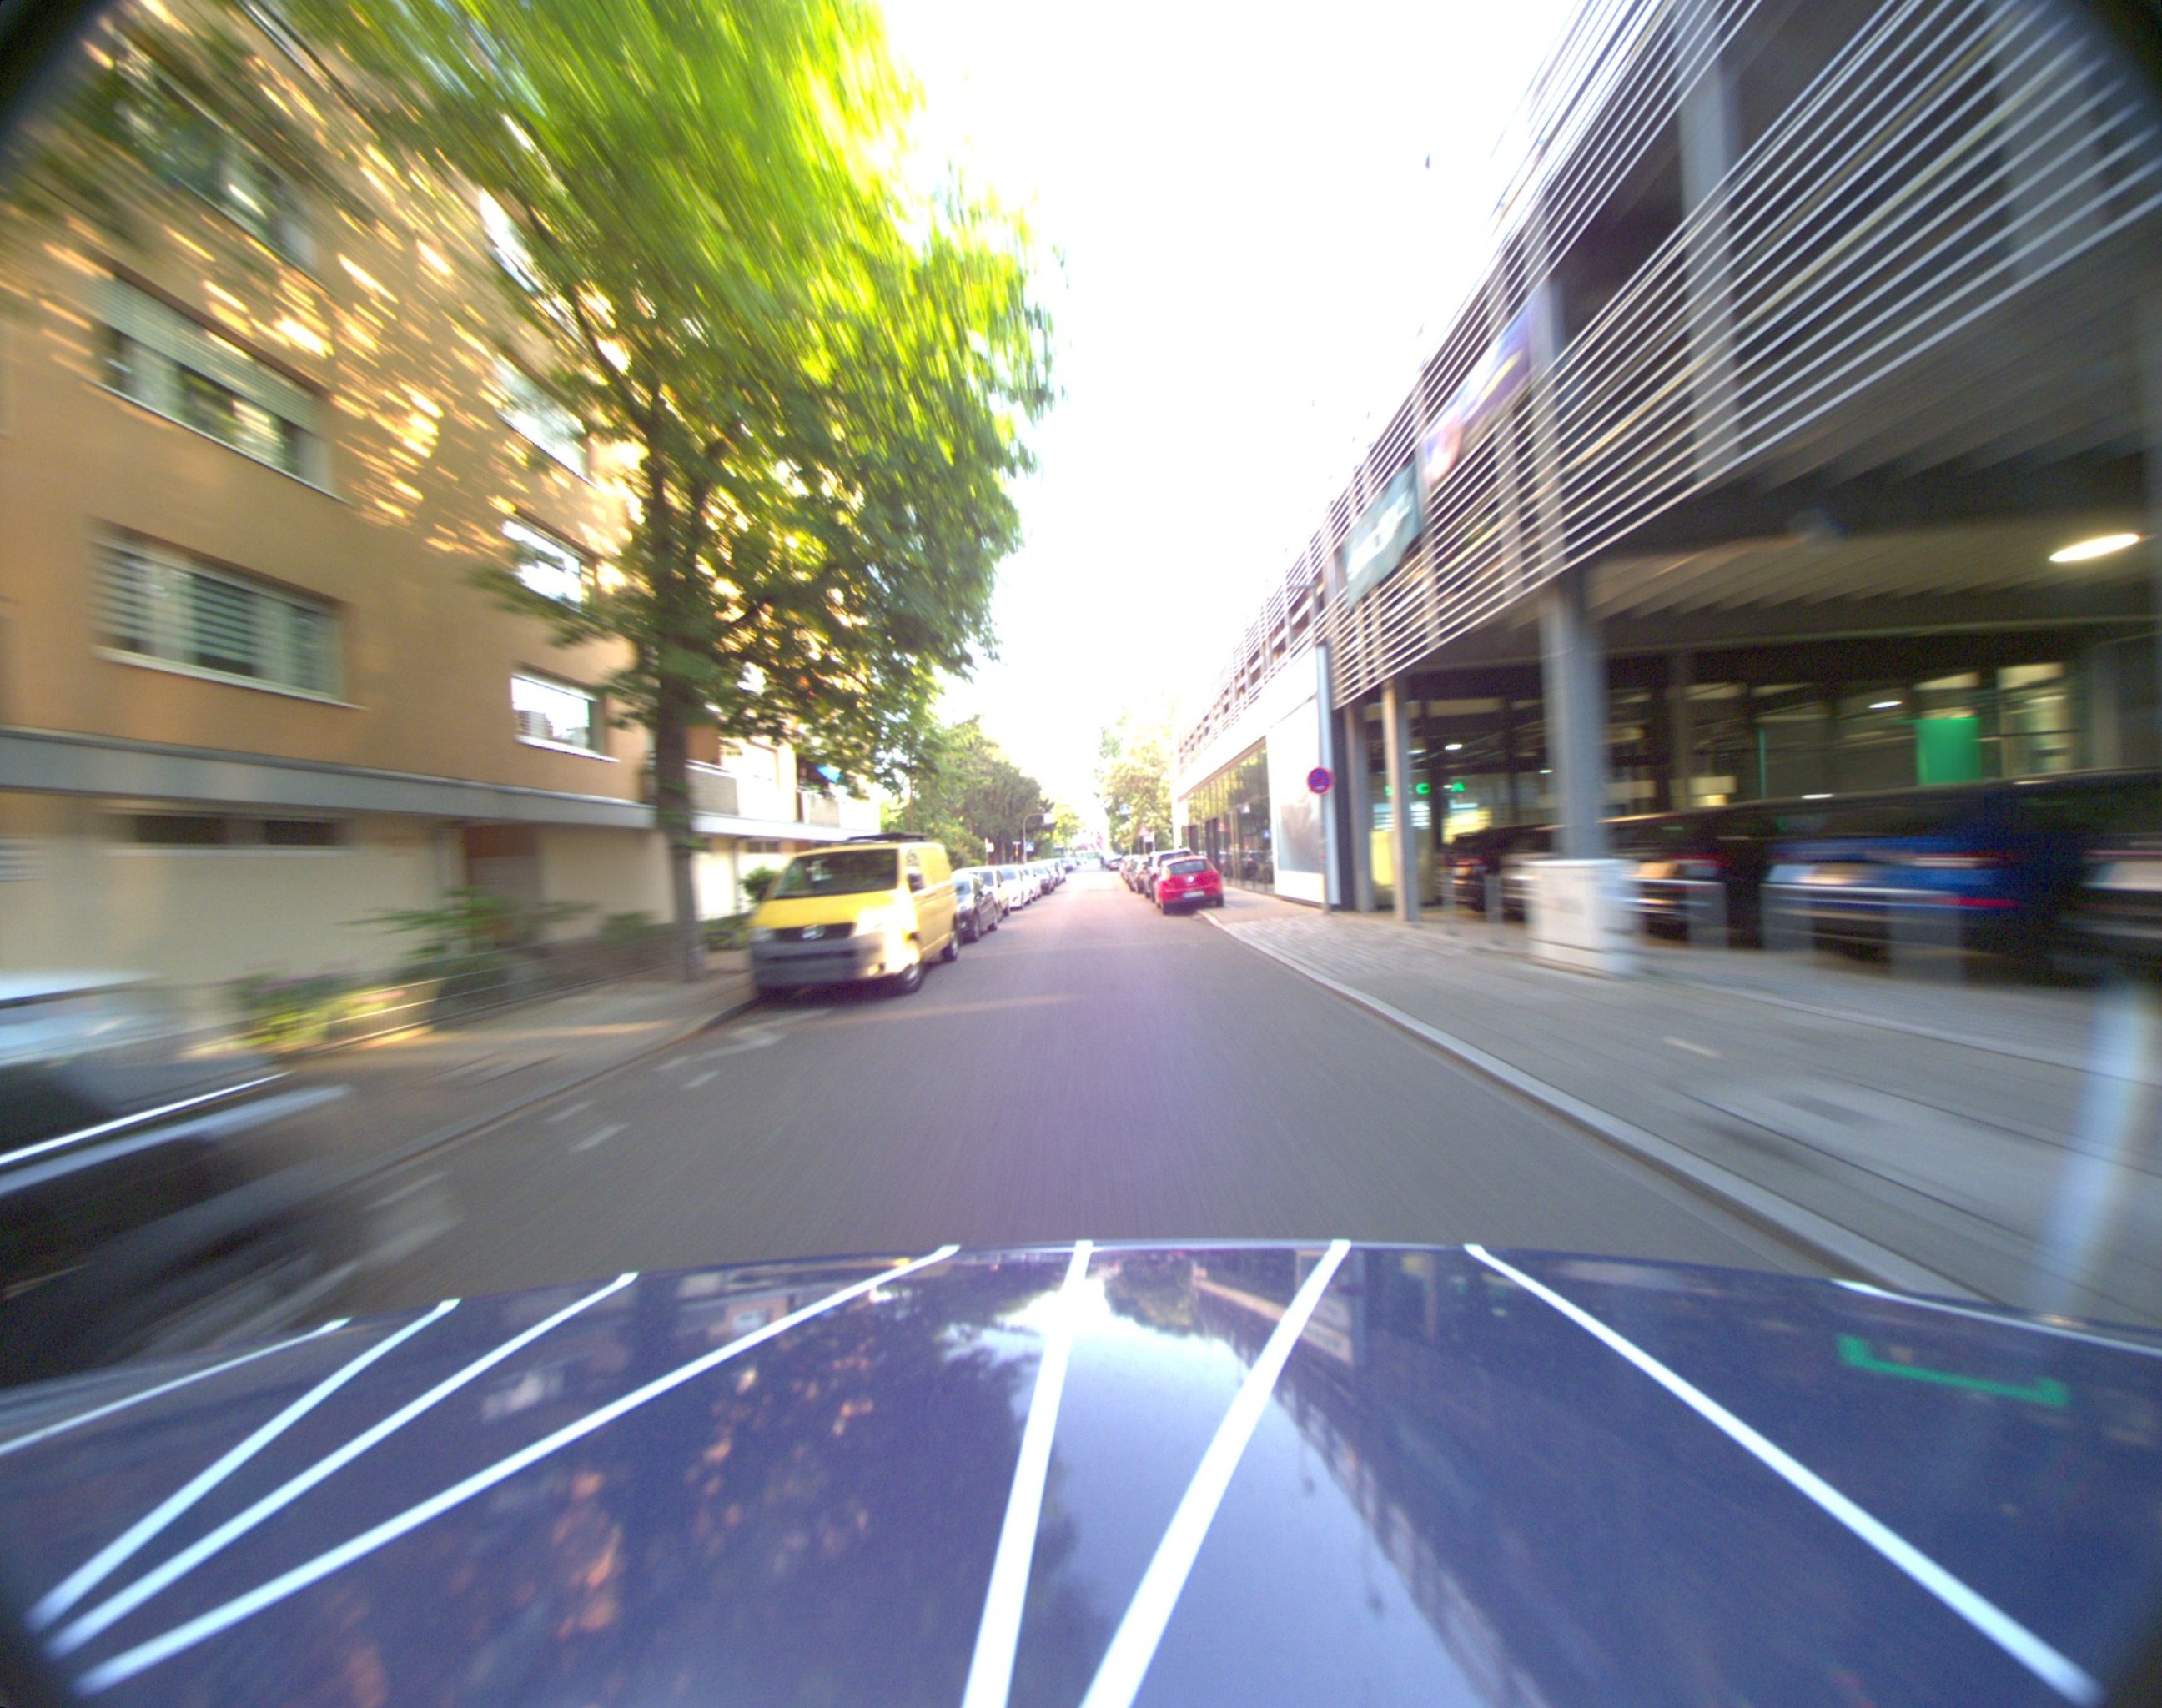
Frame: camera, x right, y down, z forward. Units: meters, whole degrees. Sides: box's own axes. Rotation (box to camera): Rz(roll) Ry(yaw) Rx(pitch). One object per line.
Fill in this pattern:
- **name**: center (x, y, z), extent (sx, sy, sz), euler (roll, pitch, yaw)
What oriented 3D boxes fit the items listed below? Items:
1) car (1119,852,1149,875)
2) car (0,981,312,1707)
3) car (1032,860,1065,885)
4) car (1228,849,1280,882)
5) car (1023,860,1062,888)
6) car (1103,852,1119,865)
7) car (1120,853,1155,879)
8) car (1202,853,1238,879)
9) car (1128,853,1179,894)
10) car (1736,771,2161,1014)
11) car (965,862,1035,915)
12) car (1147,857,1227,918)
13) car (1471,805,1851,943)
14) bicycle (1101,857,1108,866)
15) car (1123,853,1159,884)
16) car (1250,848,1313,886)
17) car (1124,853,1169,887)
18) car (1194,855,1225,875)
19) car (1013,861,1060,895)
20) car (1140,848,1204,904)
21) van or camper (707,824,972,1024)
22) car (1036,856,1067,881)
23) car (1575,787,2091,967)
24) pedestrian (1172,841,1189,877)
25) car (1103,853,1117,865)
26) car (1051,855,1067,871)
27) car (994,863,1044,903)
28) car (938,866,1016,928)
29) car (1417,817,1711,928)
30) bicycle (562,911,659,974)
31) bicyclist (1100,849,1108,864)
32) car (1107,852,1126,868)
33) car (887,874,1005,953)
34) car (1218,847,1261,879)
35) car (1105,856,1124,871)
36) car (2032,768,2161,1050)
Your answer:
- **car**: center (4.096, 0.753, 59.434), extent (1.666, 1.505, 3.883), euler (-6, -1, -5)
- **car**: center (-3.094, 1.111, 0.503), extent (1.567, 1.441, 3.454), euler (-3, -1, 1)
- **car**: center (-1.987, 1.105, 46.880), extent (1.721, 1.410, 4.028), euler (-3, 0, 1)
- **car**: center (8.627, 0.567, 38.209), extent (1.702, 1.506, 4.192), euler (-3, 0, 1)
- **car**: center (-2.120, 1.093, 42.338), extent (1.814, 1.408, 3.896), euler (-3, 0, 1)
- **car**: center (4.182, 0.690, 107.678), extent (1.786, 1.562, 3.884), euler (-8, 0, -1)
- **car**: center (3.601, 0.790, 49.251), extent (1.666, 1.402, 3.927), euler (-8, 0, -2)
- **car**: center (8.908, 0.739, 49.086), extent (1.597, 1.513, 3.877), euler (-3, 0, 1)
- **car**: center (3.103, 0.839, 33.222), extent (1.941, 1.587, 4.206), euler (-3, -1, 3)
- **car**: center (8.371, 0.224, 6.354), extent (4.045, 1.674, 1.860), euler (-3, -1, 2)
- **car**: center (-2.706, 1.123, 26.277), extent (1.796, 1.553, 4.194), euler (-3, 0, 1)
- **car**: center (2.873, 0.870, 21.347), extent (1.702, 1.497, 3.791), euler (-3, 0, 1)
- **car**: center (8.477, 0.297, 11.434), extent (4.176, 1.674, 1.860), euler (-3, -1, 2)
- **bicycle**: center (2.906, 0.948, 95.884), extent (0.761, 1.090, 1.864), euler (-2, 0, -1)
- **car**: center (3.342, 0.793, 43.130), extent (1.665, 1.488, 3.885), euler (-8, 0, 2)
- **car**: center (8.629, 0.546, 33.063), extent (1.701, 1.506, 3.994), euler (-3, 0, 1)
- **car**: center (3.255, 0.784, 38.455), extent (1.733, 1.394, 4.006), euler (-8, 0, 0)
- **car**: center (9.151, 0.795, 54.320), extent (1.597, 1.286, 3.451), euler (-3, 0, 0)
- **car**: center (-2.066, 1.115, 36.440), extent (1.814, 1.408, 4.626), euler (-3, 0, 1)
- **car**: center (3.091, 0.726, 26.659), extent (1.702, 1.745, 4.403), euler (-3, 0, 1)
- **van or camper**: center (-3.013, 0.809, 10.875), extent (2.069, 2.083, 5.091), euler (-3, -1, 0)
- **car**: center (-1.988, 0.969, 51.797), extent (1.814, 1.566, 3.885), euler (-3, 0, 1)
- **car**: center (8.472, 0.258, 8.906), extent (4.045, 1.674, 1.860), euler (-3, -1, 2)
- **pedestrian**: center (5.210, 0.266, 39.785), extent (0.722, 1.867, 0.620), euler (-3, 0, 2)
- **car**: center (5.083, 0.847, 134.101), extent (1.964, 1.825, 3.884), euler (-8, 0, -1)
- **car**: center (-2.494, 1.026, 87.480), extent (1.786, 1.743, 3.884), euler (-1, -1, -1)
- **car**: center (-2.490, 1.130, 31.418), extent (1.613, 1.452, 4.054), euler (-3, 0, 1)
- **car**: center (-2.857, 1.143, 21.581), extent (1.613, 1.501, 3.478), euler (-3, 0, 1)
- **car**: center (8.583, 0.328, 13.805), extent (4.052, 1.674, 1.860), euler (-3, -1, 2)
- **bicycle**: center (-8.266, 1.529, 13.450), extent (0.524, 0.916, 1.835), euler (-3, -1, 1)
- **bicyclist**: center (2.879, 0.342, 95.934), extent (0.861, 1.797, 1.016), euler (-3, 0, -2)
- **car**: center (4.260, 0.728, 92.296), extent (1.786, 1.568, 3.884), euler (-8, 0, -1)
- **car**: center (-2.772, 1.197, 16.512), extent (1.610, 1.373, 4.001), euler (-3, -1, 3)
- **car**: center (8.936, 0.482, 43.071), extent (1.597, 1.640, 3.877), euler (-3, 0, 1)
- **car**: center (3.866, 1.076, 87.629), extent (1.786, 1.442, 3.884), euler (-8, 0, -1)
- **car**: center (8.453, 0.214, 4.081), extent (4.159, 1.674, 1.860), euler (-3, -1, 2)
